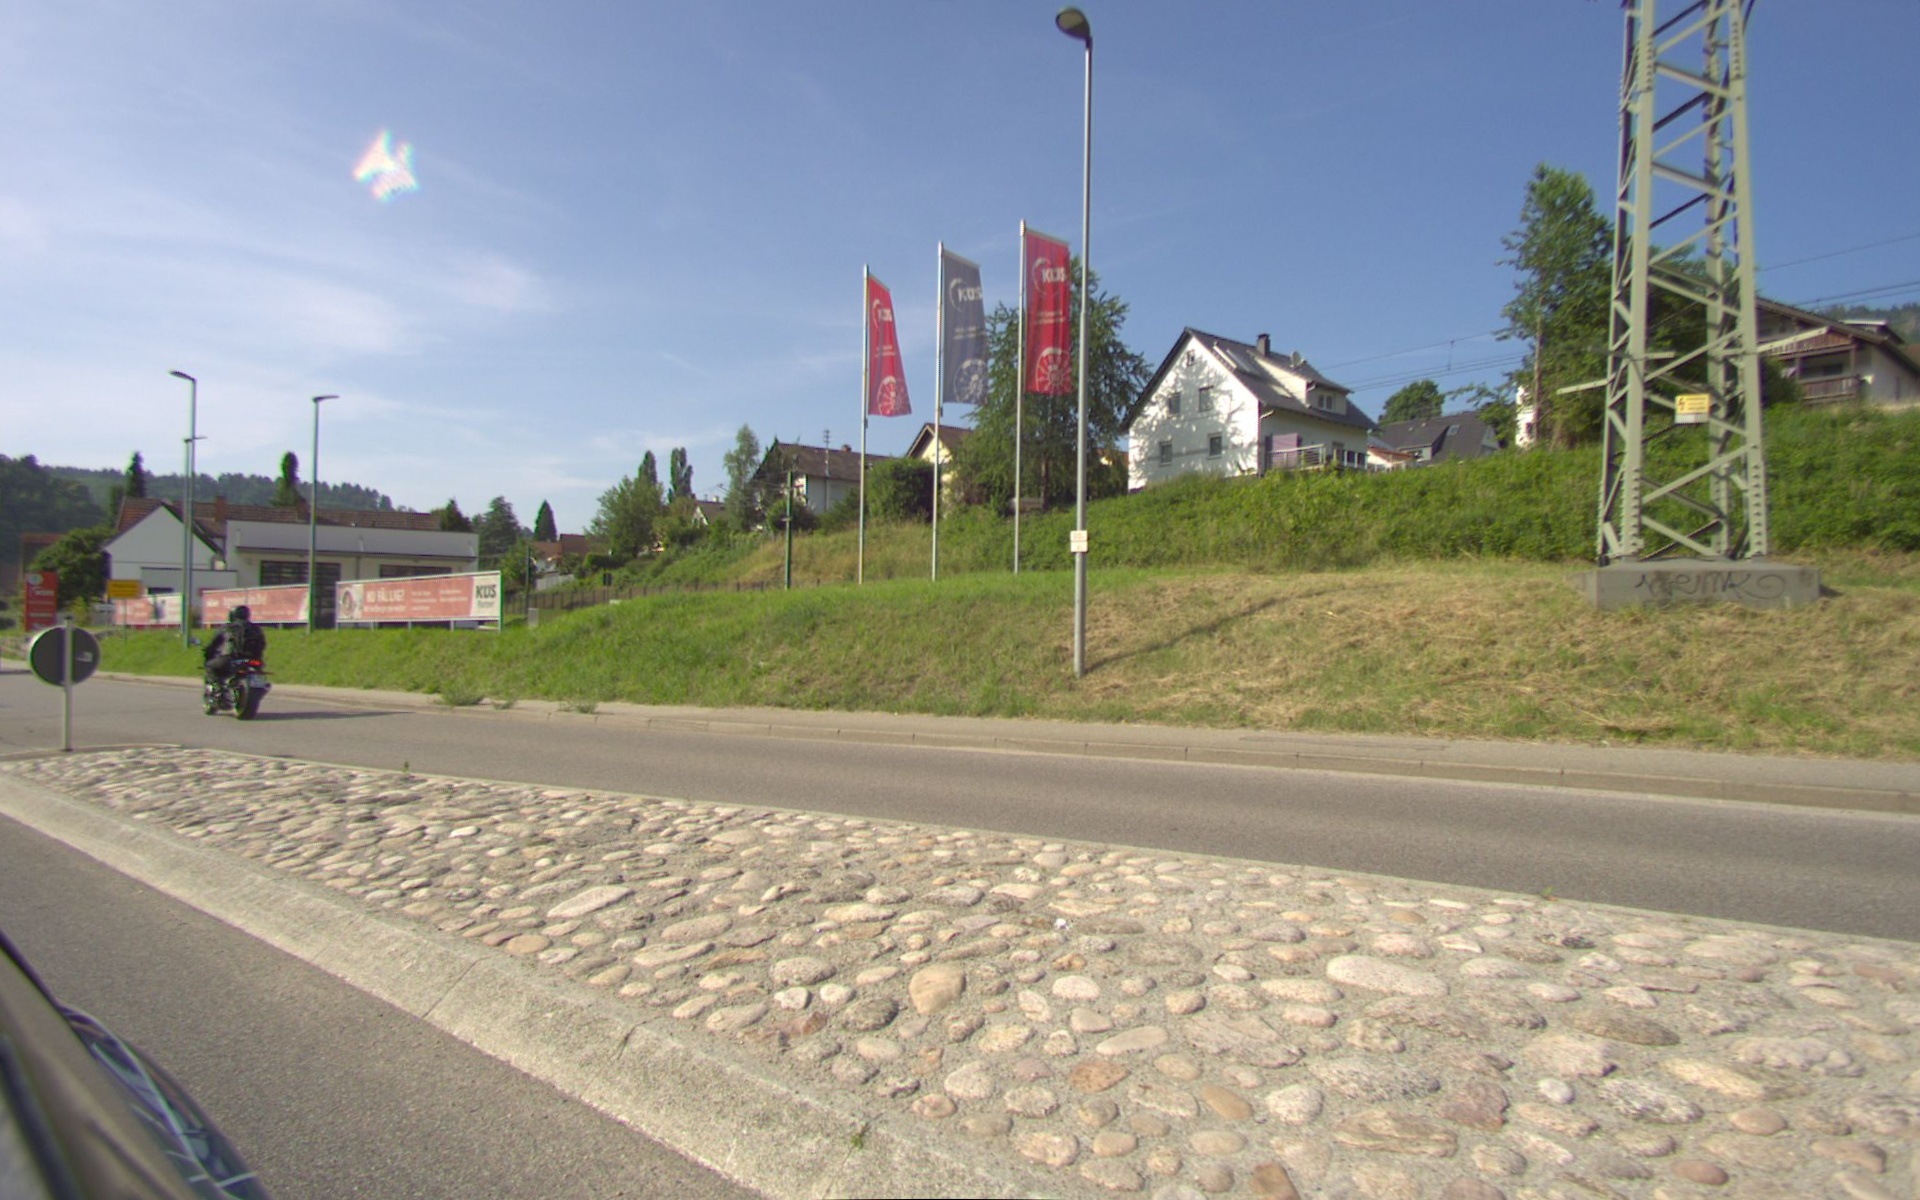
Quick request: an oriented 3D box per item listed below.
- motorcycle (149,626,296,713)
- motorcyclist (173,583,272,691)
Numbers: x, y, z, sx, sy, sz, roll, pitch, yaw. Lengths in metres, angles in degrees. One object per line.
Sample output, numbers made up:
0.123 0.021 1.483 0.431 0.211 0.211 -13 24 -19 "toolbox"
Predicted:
-10.897 0.988 14.931 2.296 1.192 0.888 -1 -1 30 "motorcycle"
-10.872 0.547 14.935 0.844 1.530 0.899 -2 -2 29 "motorcyclist"
